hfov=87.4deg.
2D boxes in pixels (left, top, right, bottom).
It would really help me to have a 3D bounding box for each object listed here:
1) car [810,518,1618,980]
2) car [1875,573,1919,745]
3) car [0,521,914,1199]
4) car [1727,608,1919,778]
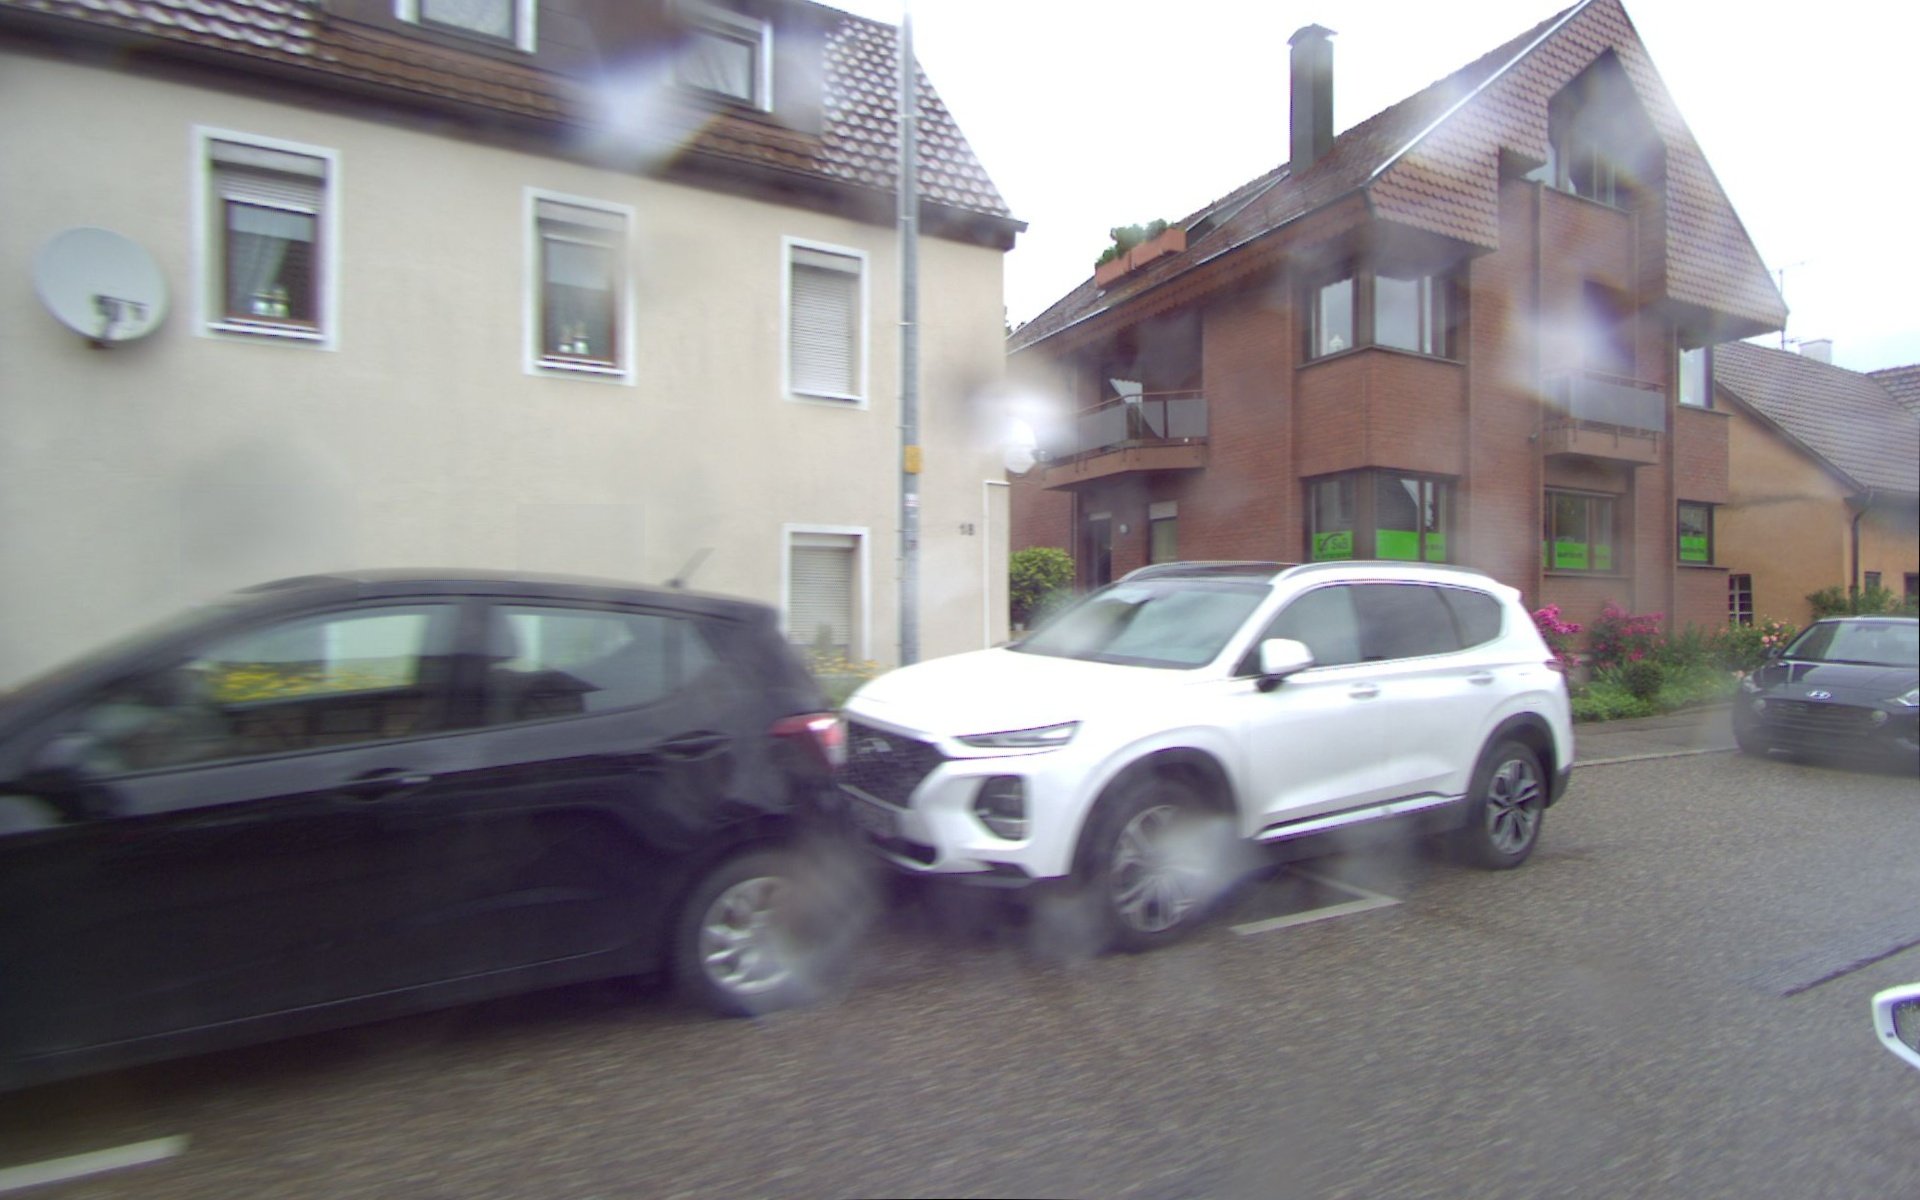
[{"bbox_3d":[1.639,0.591,5.596,4.607,1.640,1.754,1,-1,-34],"label":"car"},{"bbox_3d":[13.867,0.742,12.715,5.150,2.040,1.814,1,-1,-29],"label":"car"},{"bbox_3d":[-1.958,0.663,3.508,3.239,1.639,1.597,1,-1,-31],"label":"car"},{"bbox_3d":[9.686,0.874,10.505,3.529,1.517,1.569,1,-1,-33],"label":"car"}]
